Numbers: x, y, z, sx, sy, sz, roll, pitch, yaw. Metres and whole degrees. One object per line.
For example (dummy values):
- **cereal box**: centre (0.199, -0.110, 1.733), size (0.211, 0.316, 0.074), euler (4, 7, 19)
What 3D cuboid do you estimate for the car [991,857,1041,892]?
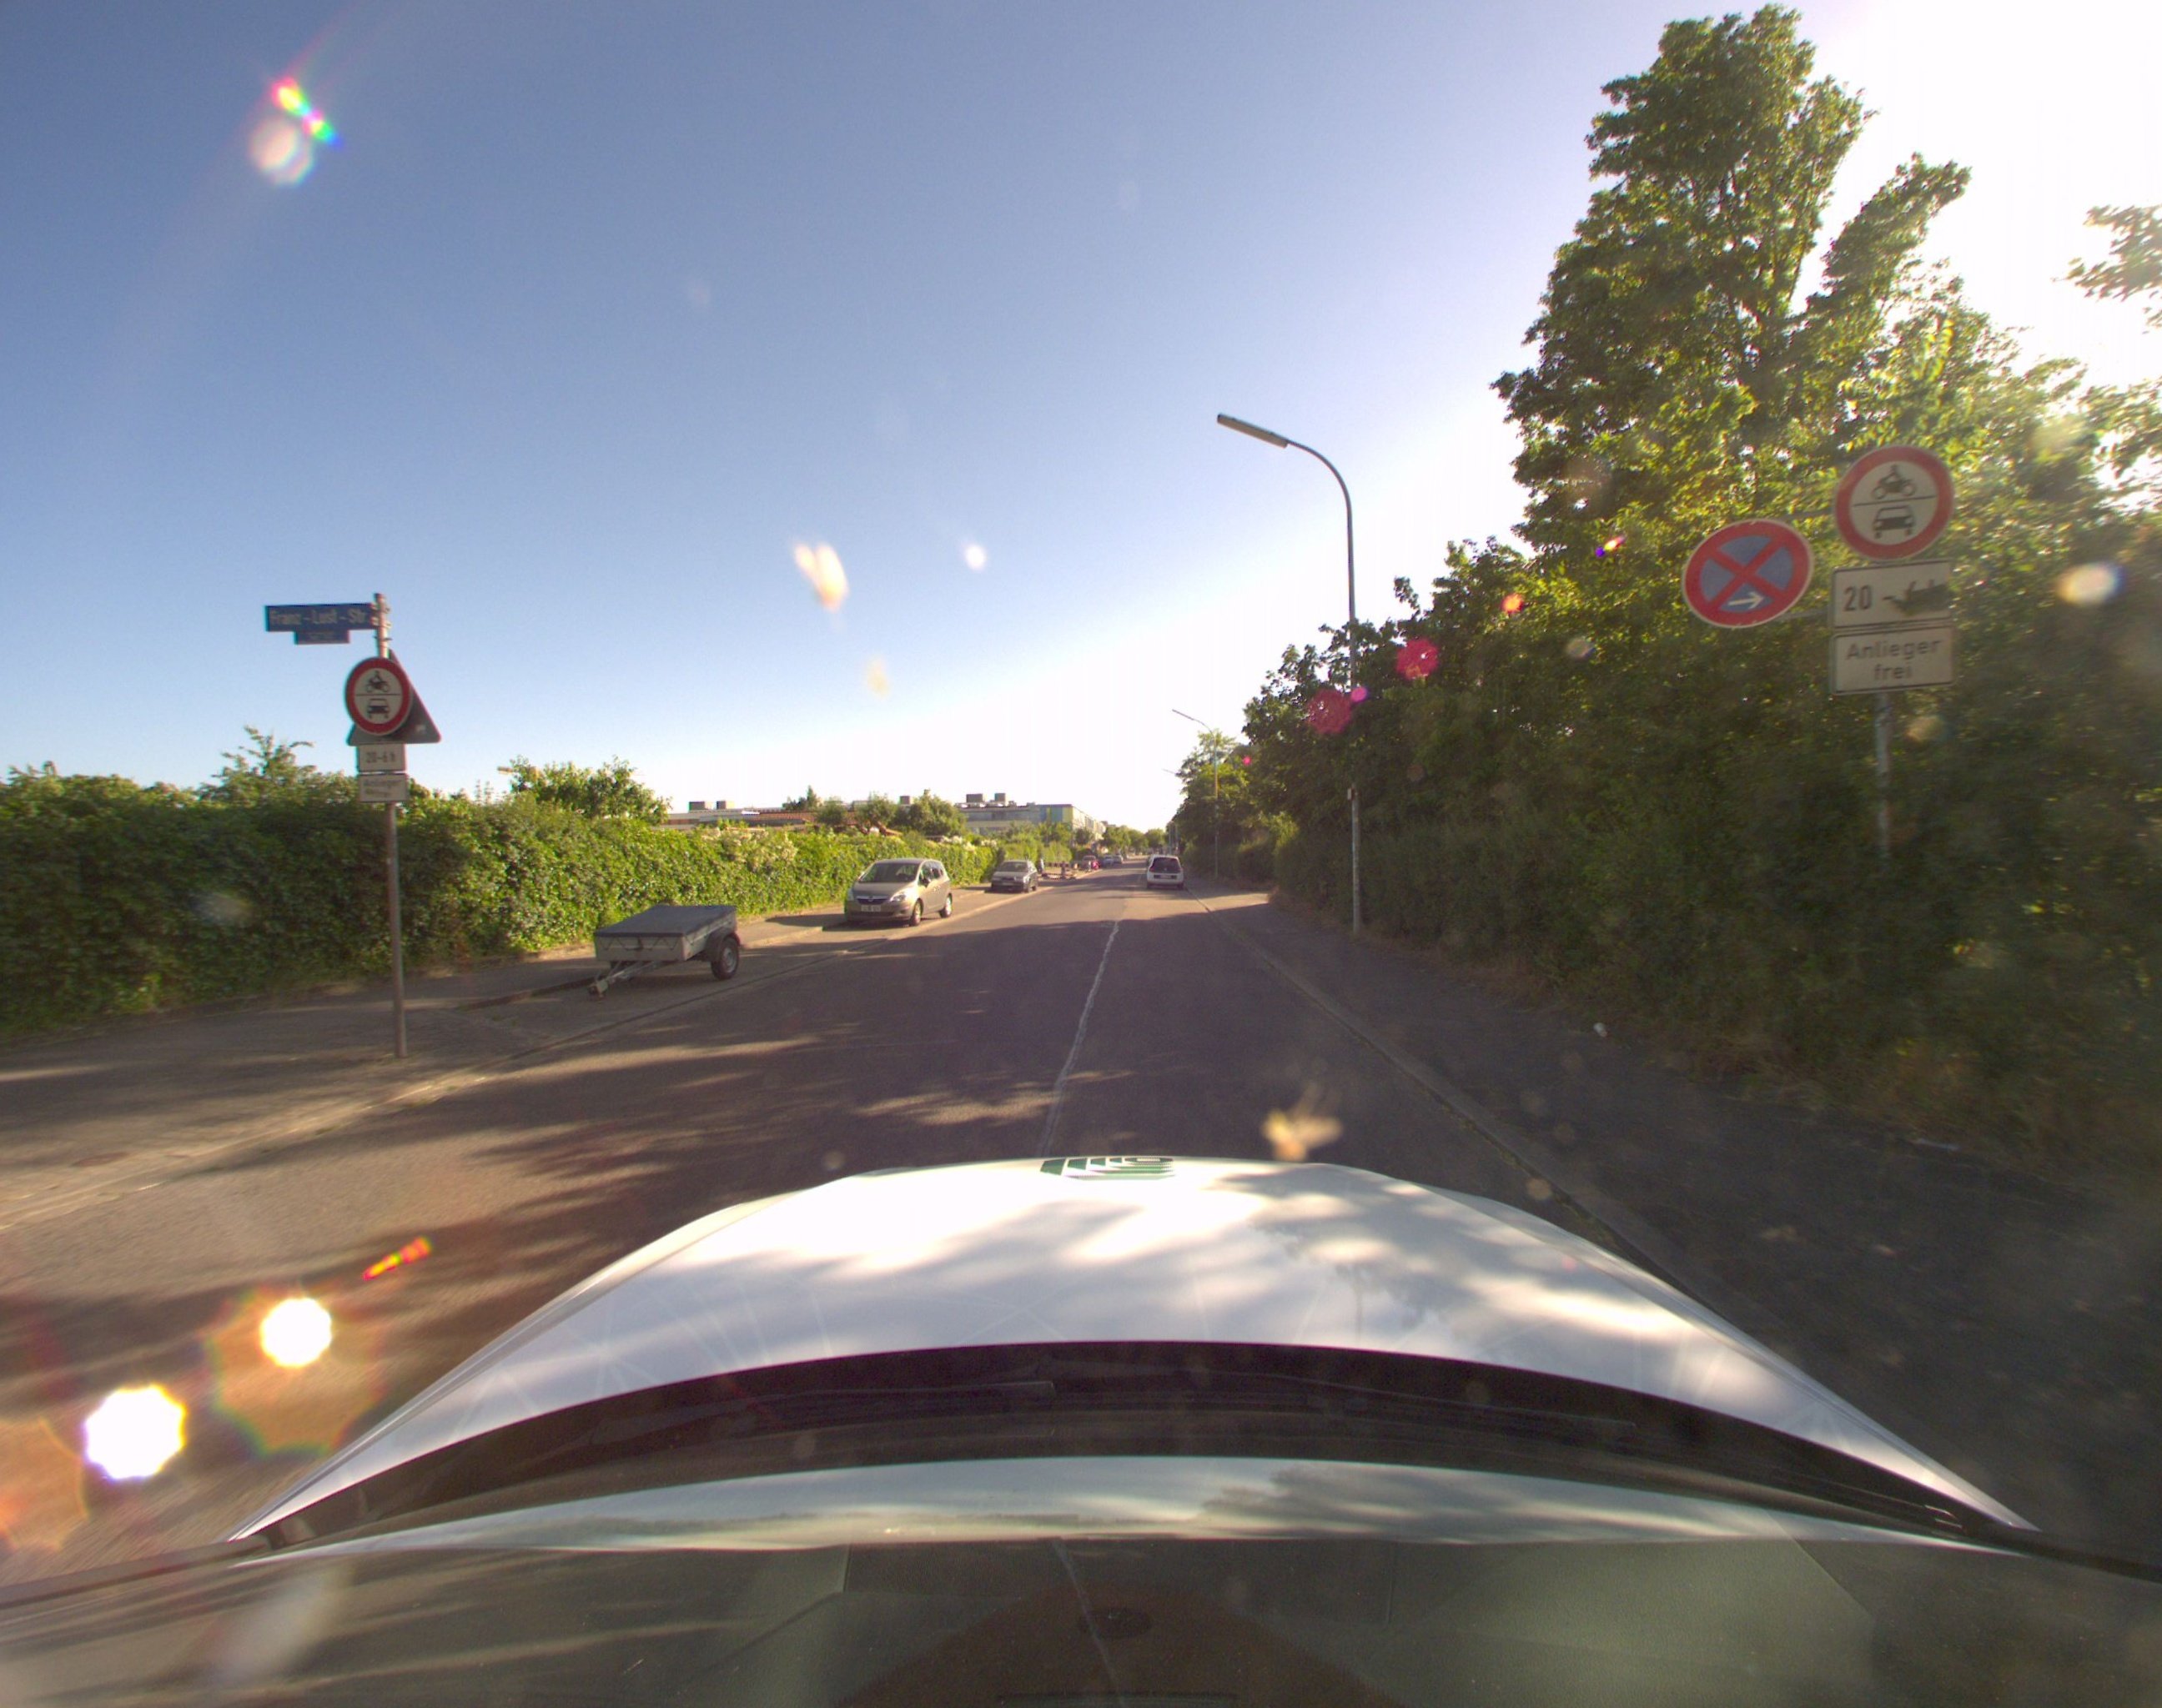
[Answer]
- **car**: centre (-2.969, 0.934, 38.097), size (1.636, 1.556, 4.423), euler (0, -1, 5)

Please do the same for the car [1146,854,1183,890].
- **car**: centre (3.840, 0.815, 37.779), size (1.548, 1.538, 3.560), euler (3, -1, 5)

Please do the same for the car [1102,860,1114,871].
- **car**: centre (4.010, 1.712, 119.971), size (1.552, 1.495, 3.763), euler (0, -1, 5)

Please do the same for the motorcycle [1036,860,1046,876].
- **motorcycle**: centre (-3.138, 1.109, 64.037), size (0.564, 1.268, 2.091), euler (2, -1, 1)

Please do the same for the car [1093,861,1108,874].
- **car**: centre (2.461, 1.671, 102.971), size (1.552, 1.495, 3.575), euler (3, -1, 5)

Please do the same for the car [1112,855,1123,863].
- **car**: centre (6.696, 0.960, 149.255), size (1.846, 1.428, 4.139), euler (2, -1, 5)

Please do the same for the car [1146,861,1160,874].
- **car**: centre (8.876, 1.664, 100.511), size (1.614, 1.526, 3.907), euler (3, -1, 6)

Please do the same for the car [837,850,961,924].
- **car**: centre (-4.434, 0.770, 20.526), size (1.635, 1.600, 4.319), euler (2, -1, 7)

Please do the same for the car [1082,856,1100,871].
- **car**: centre (1.046, 1.024, 84.808), size (1.552, 1.495, 3.575), euler (0, -1, 5)

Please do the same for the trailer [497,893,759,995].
- **trailer**: centre (-5.480, 1.043, 10.205), size (1.536, 0.953, 2.652), euler (2, -1, 7)

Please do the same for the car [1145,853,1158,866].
- **car**: centre (9.201, 0.746, 106.510), size (1.669, 1.608, 4.183), euler (3, -1, 4)
